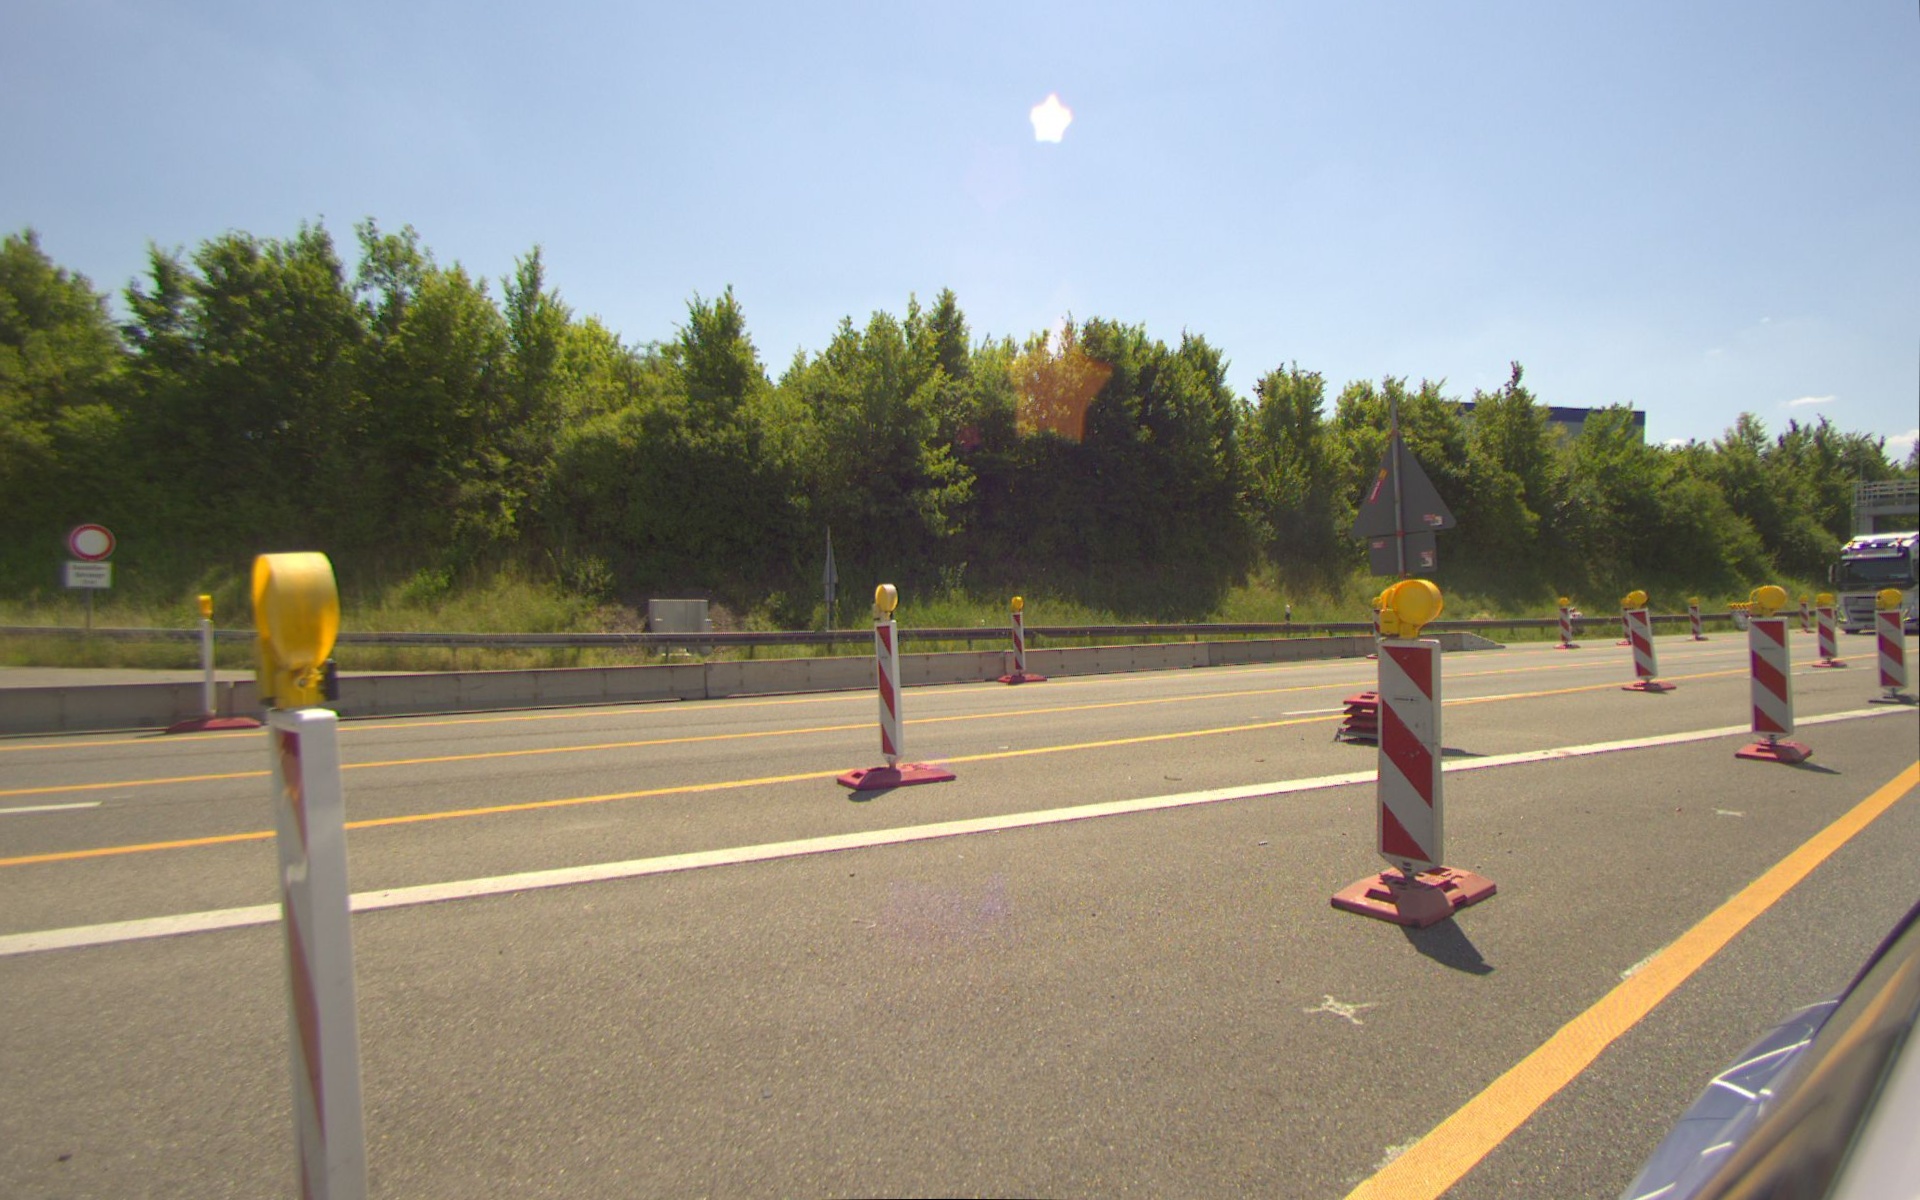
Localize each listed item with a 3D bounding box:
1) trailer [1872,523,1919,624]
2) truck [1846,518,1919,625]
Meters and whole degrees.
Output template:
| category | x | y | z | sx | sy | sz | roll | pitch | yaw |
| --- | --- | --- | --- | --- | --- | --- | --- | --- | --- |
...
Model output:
| category | x | y | z | sx | sy | sz | roll | pitch | yaw |
| --- | --- | --- | --- | --- | --- | --- | --- | --- | --- |
| trailer | 43.610 | -1.080 | 43.426 | 13.591 | 4.003 | 2.551 | 0 | -1 | -30 |
| truck | 37.920 | -1.072 | 40.097 | 5.487 | 4.001 | 2.537 | 0 | -1 | -30 |
